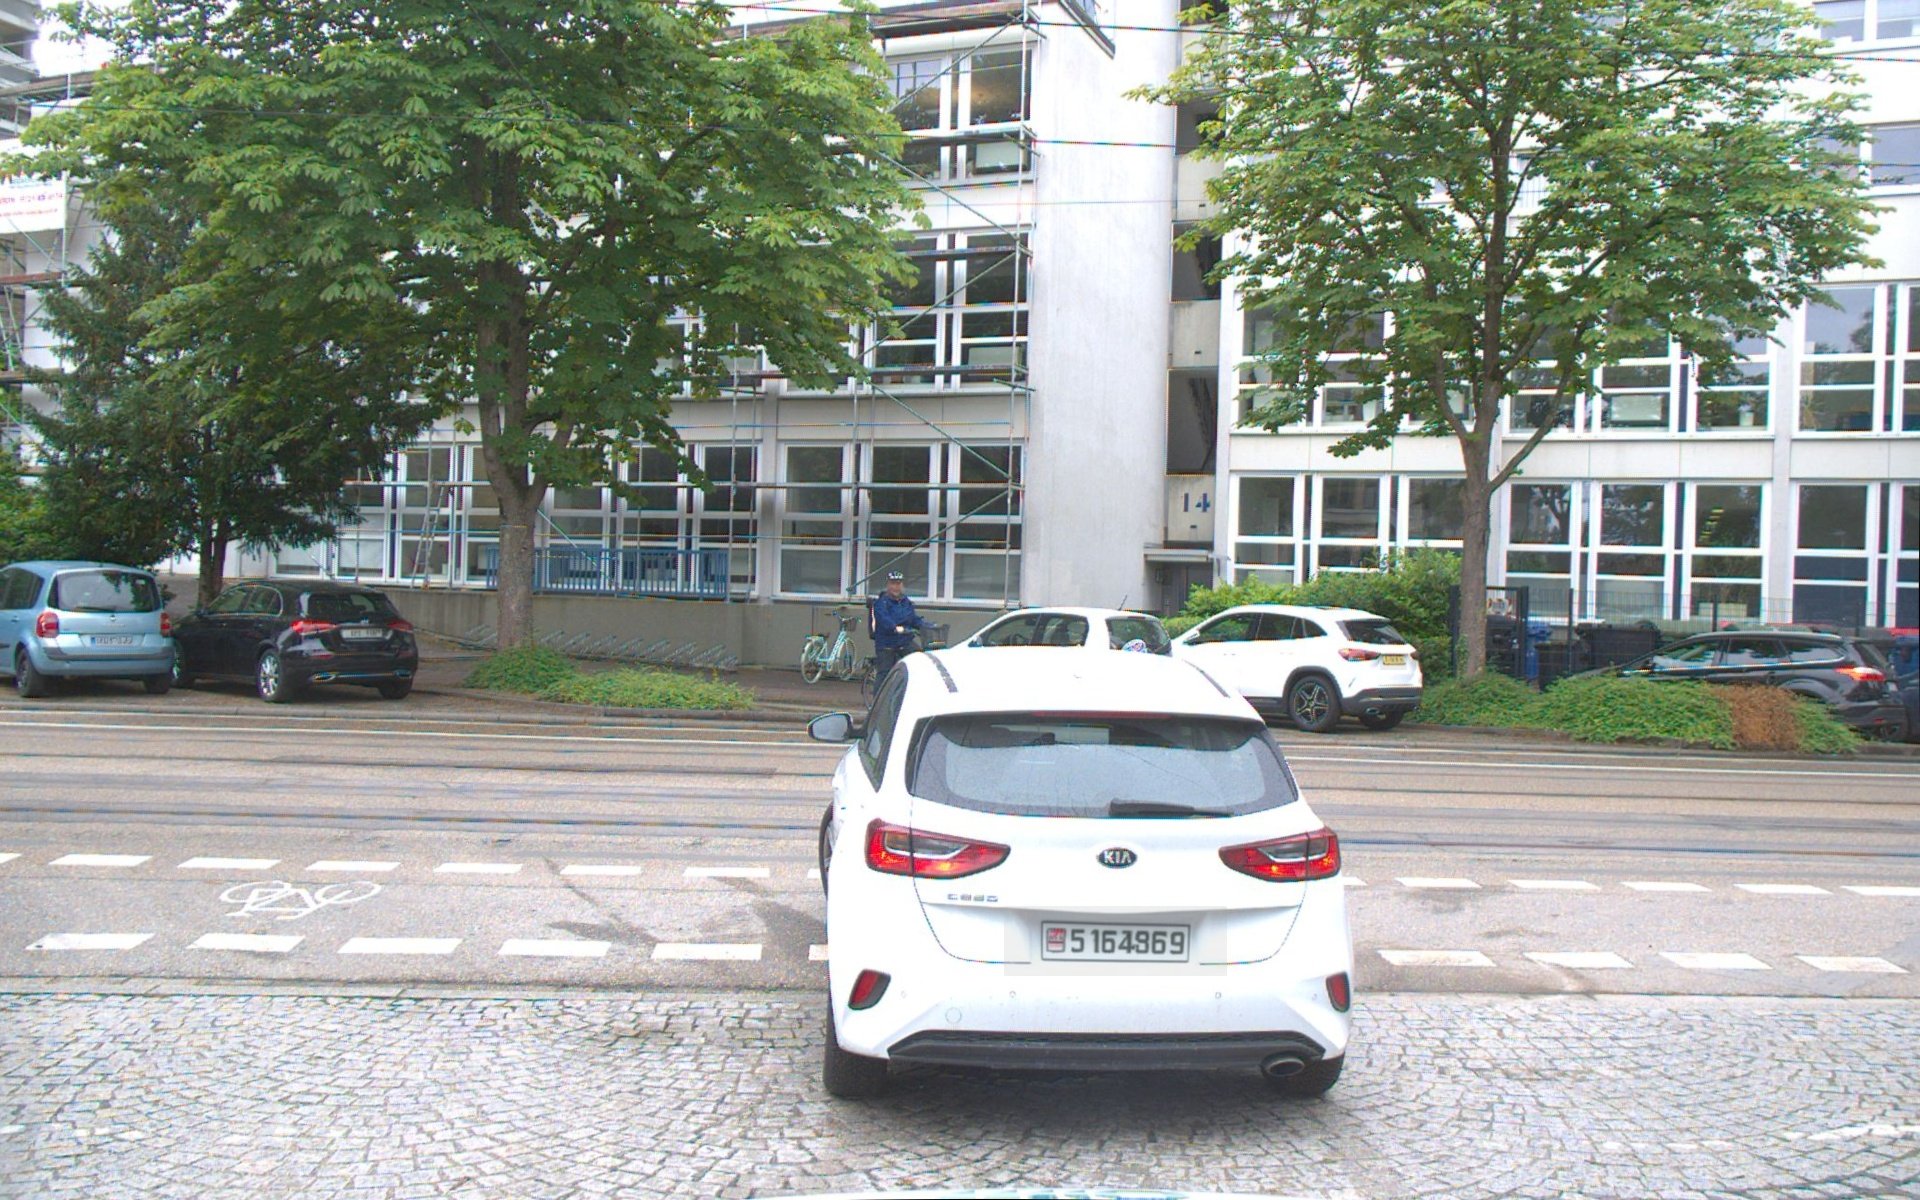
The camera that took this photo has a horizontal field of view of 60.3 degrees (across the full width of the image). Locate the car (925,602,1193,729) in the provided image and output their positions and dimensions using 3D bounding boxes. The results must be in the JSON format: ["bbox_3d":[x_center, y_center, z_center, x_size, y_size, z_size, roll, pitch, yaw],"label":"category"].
[{"bbox_3d":[1.248,0.804,21.706,1.545,1.499,3.352,1,0,-44],"label":"car"}]

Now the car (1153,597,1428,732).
[{"bbox_3d":[4.378,0.804,22.184,1.545,1.646,3.352,1,0,-44],"label":"car"}]

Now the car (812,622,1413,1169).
[{"bbox_3d":[0.393,0.892,6.801,1.740,1.457,3.978,1,1,-2],"label":"car"}]

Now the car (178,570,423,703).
[{"bbox_3d":[-8.348,0.417,20.833,3.279,1.537,1.608,1,0,43],"label":"car"}]

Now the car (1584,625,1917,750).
[{"bbox_3d":[10.854,1.135,22.838,3.881,1.499,1.665,1,0,40],"label":"car"}]

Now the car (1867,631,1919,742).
[{"bbox_3d":[14.297,1.211,22.366,3.331,1.499,1.407,1,0,43],"label":"car"}]

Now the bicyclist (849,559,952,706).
[{"bbox_3d":[-0.724,0.385,20.109,0.882,1.727,0.828,1,0,44],"label":"bicyclist"}]

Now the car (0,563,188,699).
[{"bbox_3d":[-11.177,0.339,20.702,3.279,1.564,1.608,1,0,43],"label":"car"}]

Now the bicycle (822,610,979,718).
[{"bbox_3d":[-0.745,0.754,20.122,1.883,1.194,0.816,2,0,44],"label":"bicycle"}]

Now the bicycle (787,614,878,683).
[{"bbox_3d":[-2.122,0.799,27.917,0.631,1.093,2.312,2,0,19],"label":"bicycle"}]

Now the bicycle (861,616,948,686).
[{"bbox_3d":[-0.894,0.819,27.444,0.631,1.093,2.312,2,0,19],"label":"bicycle"}]
